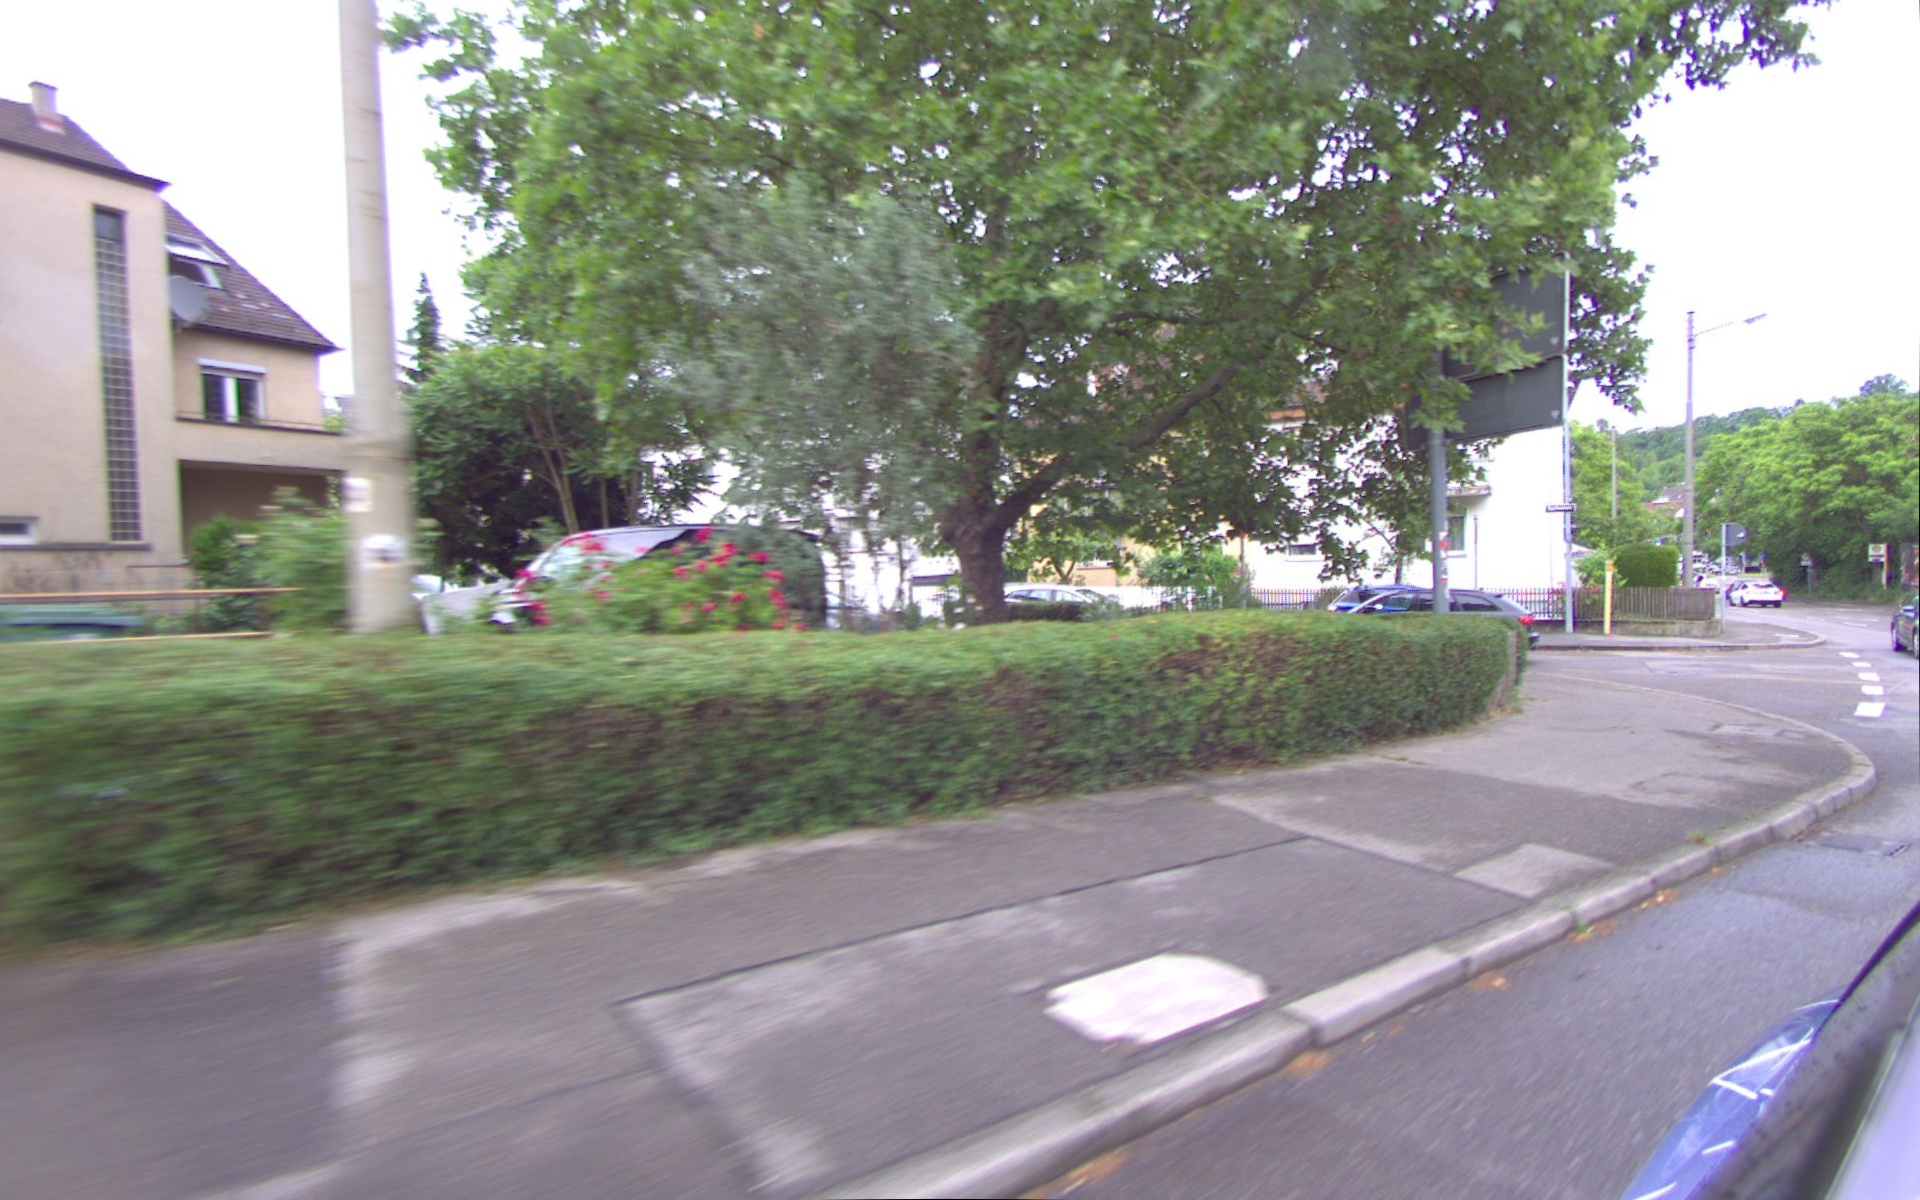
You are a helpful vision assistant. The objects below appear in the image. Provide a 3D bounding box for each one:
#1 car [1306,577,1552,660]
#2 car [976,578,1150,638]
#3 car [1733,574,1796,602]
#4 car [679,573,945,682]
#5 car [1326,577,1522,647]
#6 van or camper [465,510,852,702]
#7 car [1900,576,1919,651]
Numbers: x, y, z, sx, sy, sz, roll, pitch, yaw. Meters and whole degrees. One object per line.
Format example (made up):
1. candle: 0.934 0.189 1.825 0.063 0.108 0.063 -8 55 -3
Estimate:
1. car: 9.446 0.330 20.598 4.350 1.532 1.981 0 1 27
2. car: 2.804 0.183 27.789 4.356 1.532 1.979 0 1 31
3. car: 47.534 -0.704 59.905 1.824 1.577 5.521 0 1 27
4. car: -2.383 0.353 15.865 3.979 1.482 1.972 0 1 39
5. car: 10.655 0.218 23.384 3.960 1.482 1.844 1 1 27
6. van or camper: -3.615 0.044 12.049 4.287 1.928 1.981 0 0 28
7. car: 21.202 0.283 21.241 1.698 1.577 3.948 0 1 36
